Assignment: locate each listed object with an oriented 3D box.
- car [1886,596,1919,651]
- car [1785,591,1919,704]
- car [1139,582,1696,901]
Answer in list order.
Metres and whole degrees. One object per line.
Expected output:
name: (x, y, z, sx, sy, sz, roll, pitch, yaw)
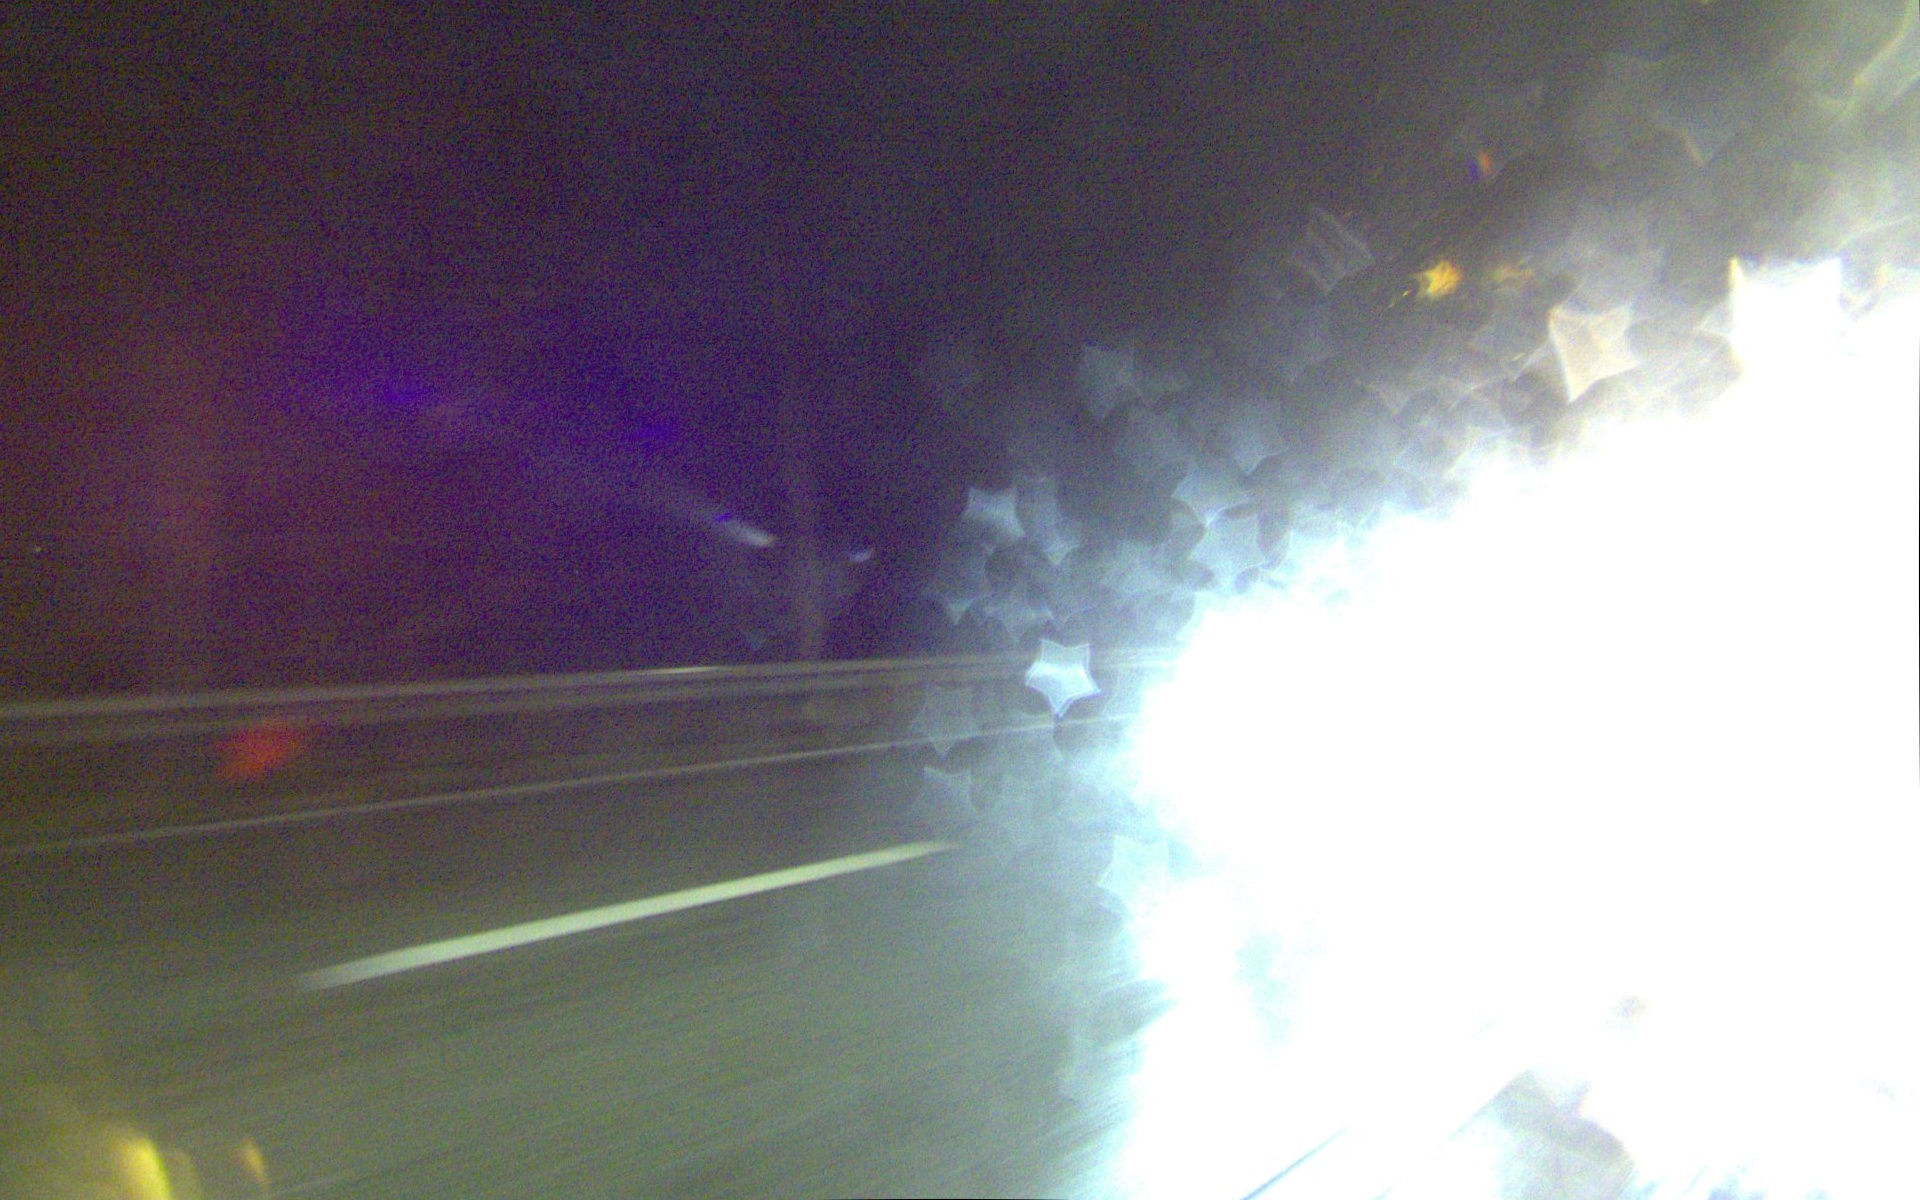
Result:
car: (27.824, 0.647, 28.630, 3.930, 1.482, 1.997, 0, 1, -41)
car: (14.079, 0.632, 15.394, 3.930, 1.520, 1.763, 0, 1, -41)
car: (3.375, 0.656, 6.982, 4.488, 1.503, 1.825, 0, 1, -41)
